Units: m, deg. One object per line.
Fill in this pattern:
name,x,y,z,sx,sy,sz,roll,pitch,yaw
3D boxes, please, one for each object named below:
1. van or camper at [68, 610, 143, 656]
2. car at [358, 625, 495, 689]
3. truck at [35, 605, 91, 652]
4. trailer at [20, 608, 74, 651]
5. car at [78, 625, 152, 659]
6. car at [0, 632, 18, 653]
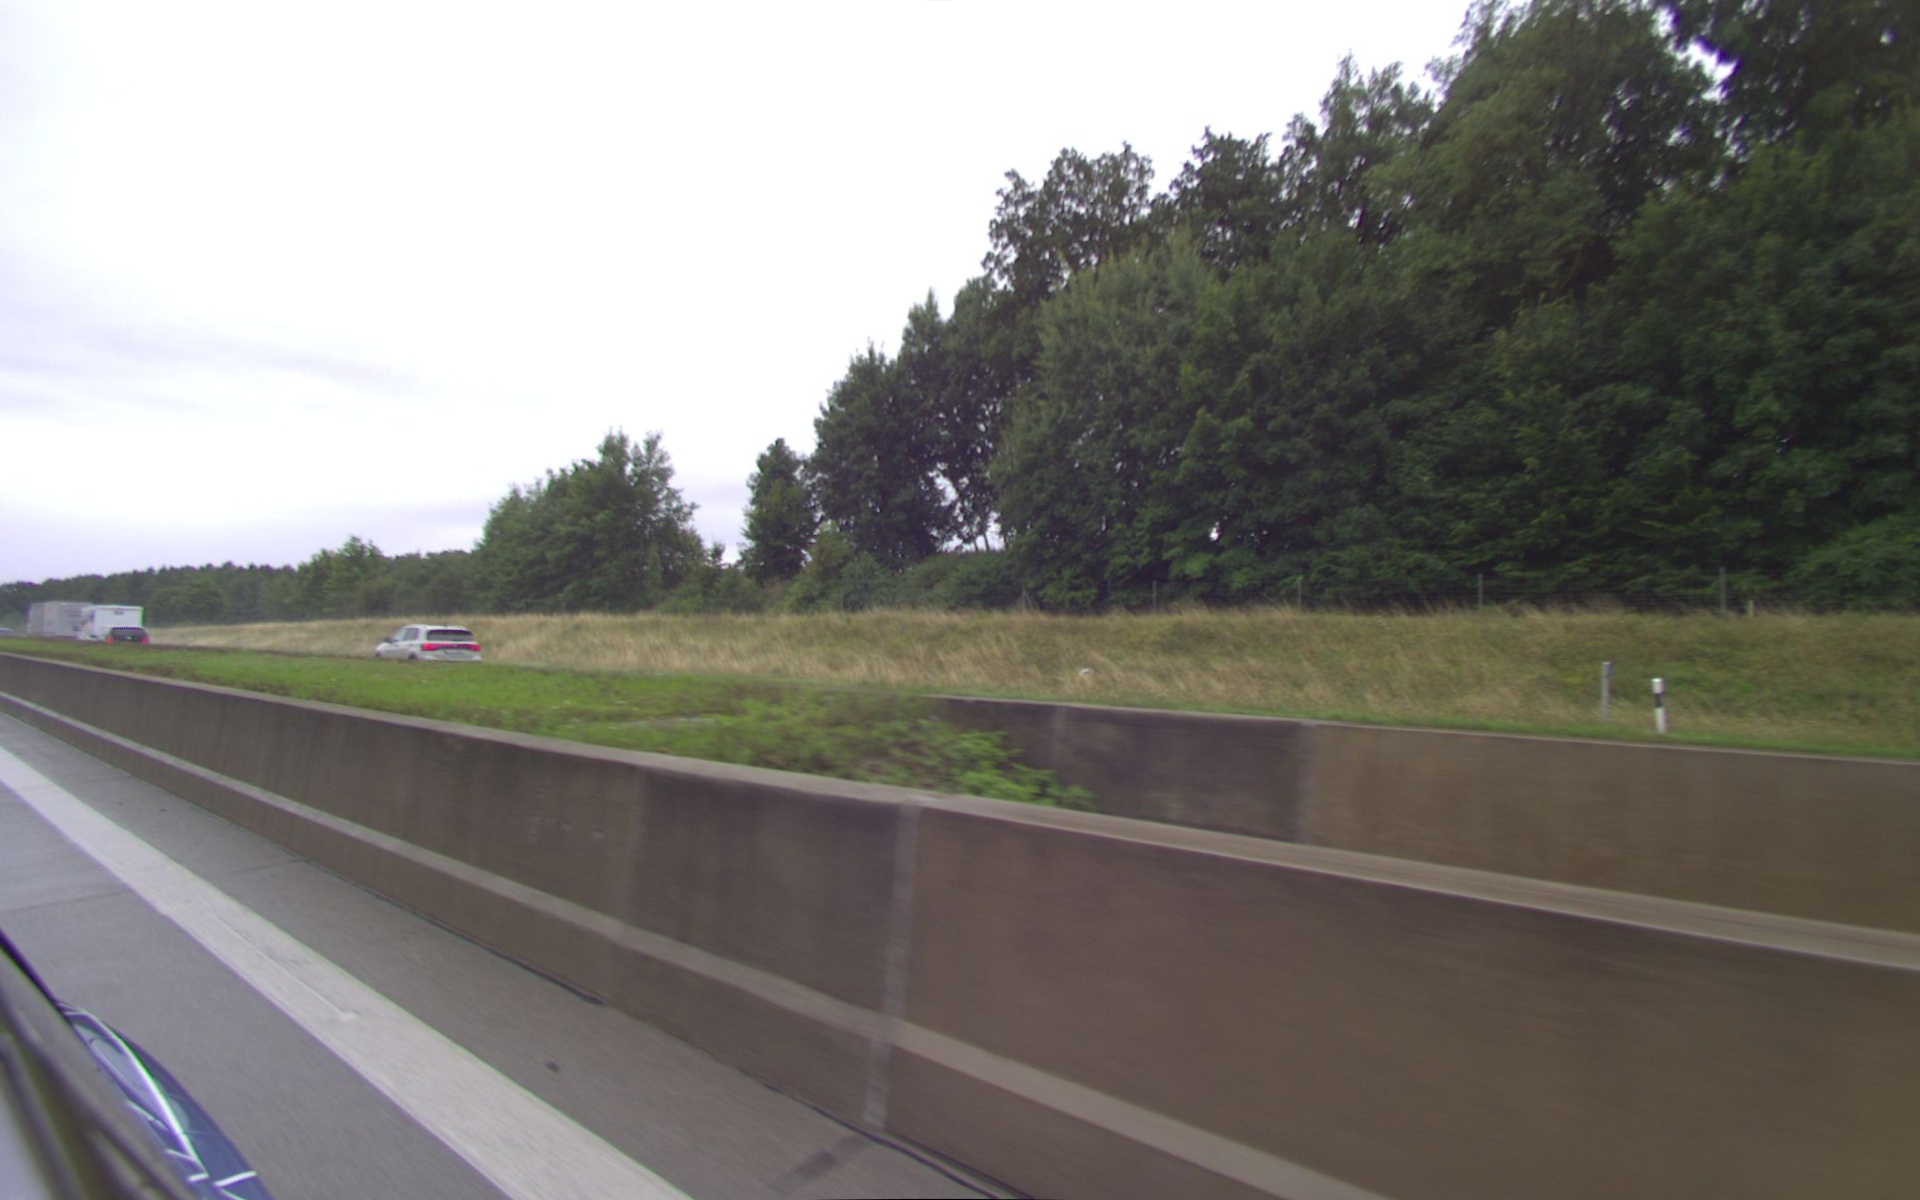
van or camper,-53.835,2.065,63.660,7.710,2.756,2.387,-1,-3,41
car,-15.261,1.568,28.826,4.685,1.678,1.860,-1,-3,41
truck,-83.357,2.665,94.020,8.586,4.172,2.558,-2,-4,40
trailer,-90.492,2.991,100.230,10.368,4.078,2.559,-2,-5,41
car,-35.481,1.753,42.472,4.097,1.344,1.720,-2,-3,41
car,-72.062,3.206,75.880,4.463,1.528,1.646,-2,-3,41
